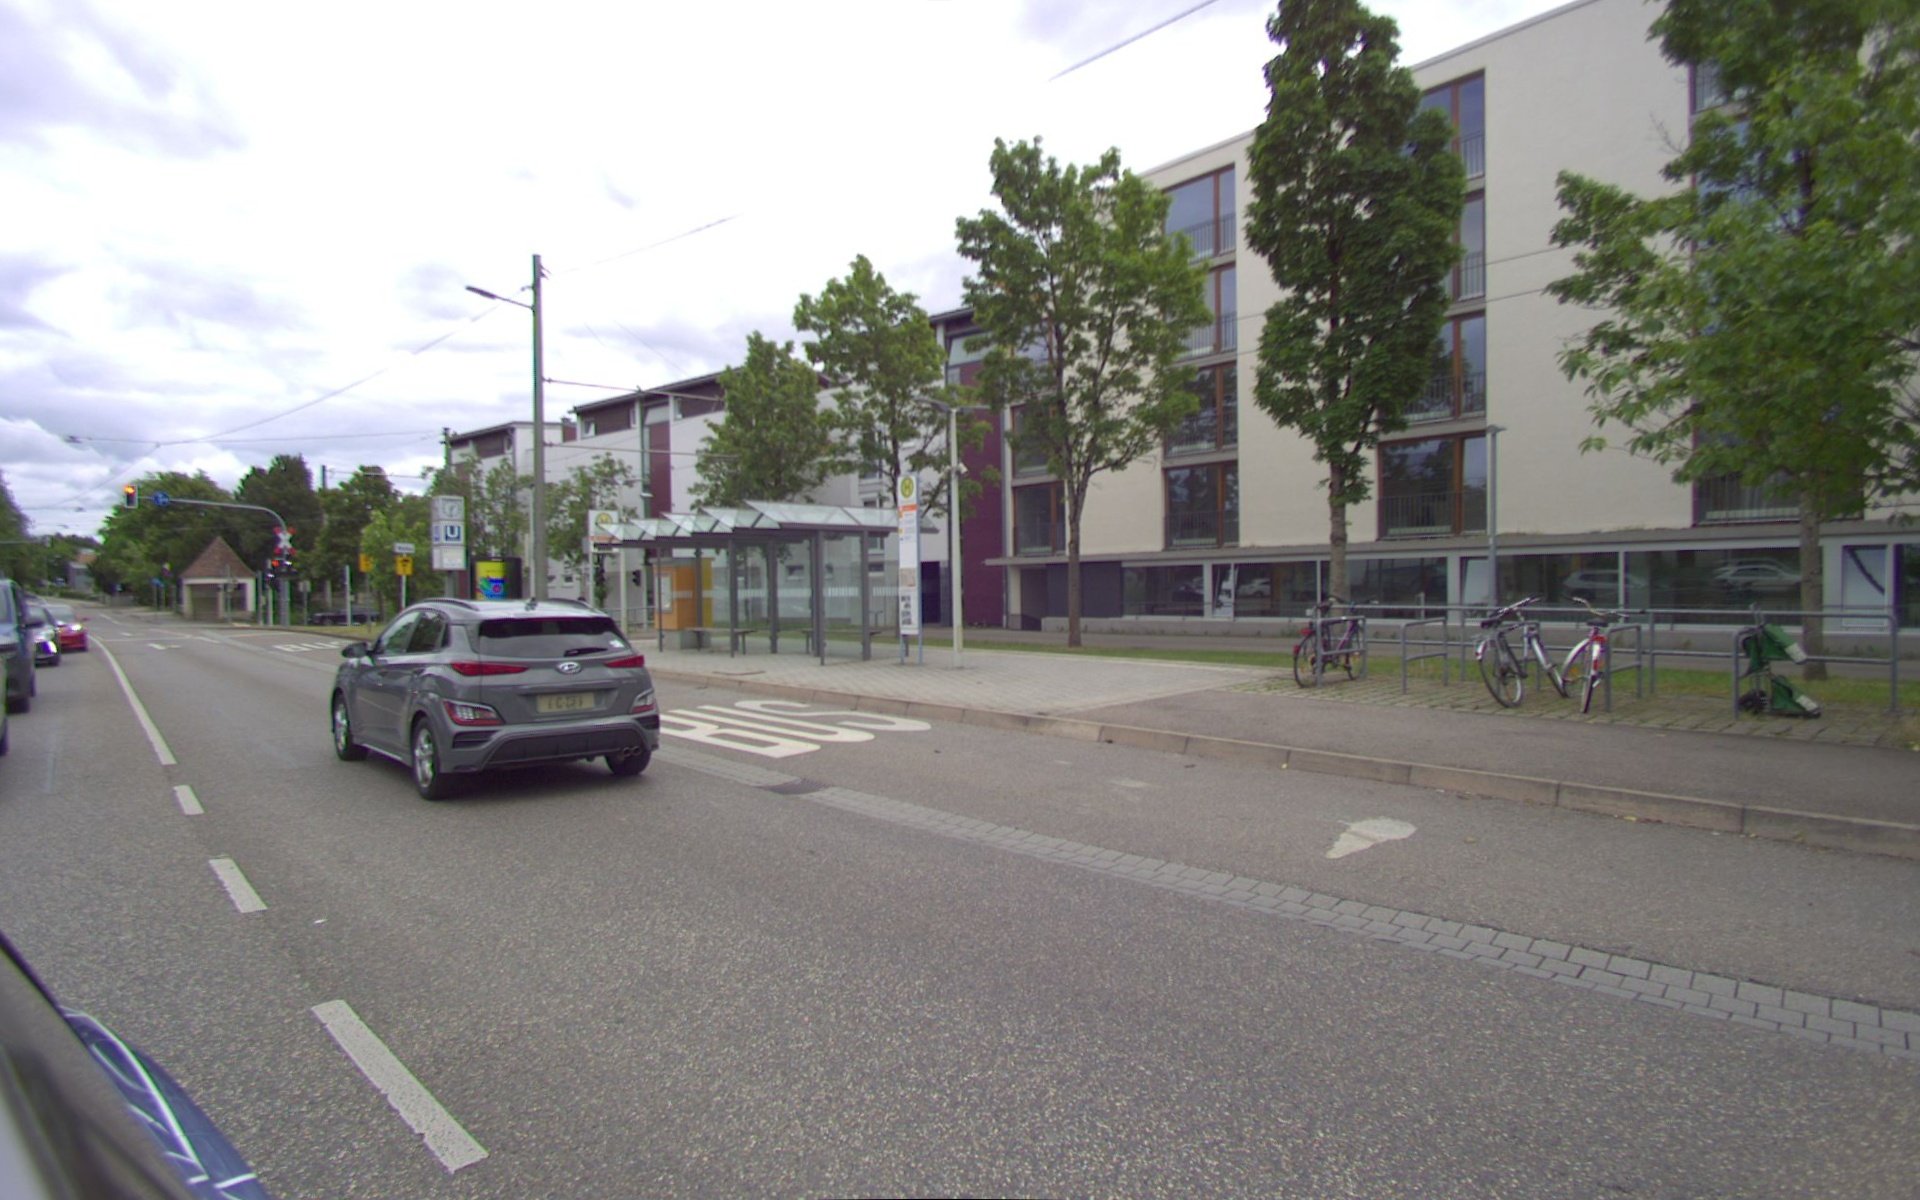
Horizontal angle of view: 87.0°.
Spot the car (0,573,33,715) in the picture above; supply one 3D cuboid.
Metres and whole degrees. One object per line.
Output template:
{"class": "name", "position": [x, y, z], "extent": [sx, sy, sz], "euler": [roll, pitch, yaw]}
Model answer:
{"class": "car", "position": [-14.471, 0.599, 14.371], "extent": [1.822, 1.875, 4.005], "euler": [-1, 1, -41]}

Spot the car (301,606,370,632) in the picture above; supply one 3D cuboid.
{"class": "car", "position": [-46.078, 1.370, 74.714], "extent": [1.930, 1.718, 3.941], "euler": [0, 1, 45]}

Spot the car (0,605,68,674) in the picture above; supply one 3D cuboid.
{"class": "car", "position": [-22.746, 0.904, 24.216], "extent": [4.001, 1.546, 1.824], "euler": [-1, 0, 44]}

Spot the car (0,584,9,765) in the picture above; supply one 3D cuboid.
{"class": "car", "position": [-9.103, 0.693, 8.252], "extent": [1.785, 1.659, 4.336], "euler": [-1, 1, -41]}

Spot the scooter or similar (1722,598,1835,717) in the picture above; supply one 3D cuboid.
{"class": "scooter or similar", "position": [7.515, 0.500, 9.291], "extent": [0.773, 1.017, 0.779], "euler": [0, 1, 41]}

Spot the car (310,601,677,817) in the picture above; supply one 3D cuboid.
{"class": "car", "position": [-4.328, 0.782, 9.066], "extent": [1.747, 1.490, 4.003], "euler": [1, -1, -44]}

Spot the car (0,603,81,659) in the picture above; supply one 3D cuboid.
{"class": "car", "position": [-27.924, 0.886, 30.512], "extent": [4.001, 1.546, 1.824], "euler": [-1, 0, 44]}

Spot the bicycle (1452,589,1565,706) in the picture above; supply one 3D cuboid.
{"class": "bicycle", "position": [5.698, 0.456, 10.466], "extent": [1.727, 1.054, 0.409], "euler": [-4, 2, -40]}

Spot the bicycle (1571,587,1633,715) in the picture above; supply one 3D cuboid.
{"class": "bicycle", "position": [6.341, 0.454, 9.962], "extent": [0.407, 1.097, 1.690], "euler": [-1, 2, 35]}

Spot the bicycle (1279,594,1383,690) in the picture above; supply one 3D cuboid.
{"class": "bicycle", "position": [4.542, 0.484, 12.327], "extent": [1.666, 1.032, 0.397], "euler": [-4, 2, -40]}
